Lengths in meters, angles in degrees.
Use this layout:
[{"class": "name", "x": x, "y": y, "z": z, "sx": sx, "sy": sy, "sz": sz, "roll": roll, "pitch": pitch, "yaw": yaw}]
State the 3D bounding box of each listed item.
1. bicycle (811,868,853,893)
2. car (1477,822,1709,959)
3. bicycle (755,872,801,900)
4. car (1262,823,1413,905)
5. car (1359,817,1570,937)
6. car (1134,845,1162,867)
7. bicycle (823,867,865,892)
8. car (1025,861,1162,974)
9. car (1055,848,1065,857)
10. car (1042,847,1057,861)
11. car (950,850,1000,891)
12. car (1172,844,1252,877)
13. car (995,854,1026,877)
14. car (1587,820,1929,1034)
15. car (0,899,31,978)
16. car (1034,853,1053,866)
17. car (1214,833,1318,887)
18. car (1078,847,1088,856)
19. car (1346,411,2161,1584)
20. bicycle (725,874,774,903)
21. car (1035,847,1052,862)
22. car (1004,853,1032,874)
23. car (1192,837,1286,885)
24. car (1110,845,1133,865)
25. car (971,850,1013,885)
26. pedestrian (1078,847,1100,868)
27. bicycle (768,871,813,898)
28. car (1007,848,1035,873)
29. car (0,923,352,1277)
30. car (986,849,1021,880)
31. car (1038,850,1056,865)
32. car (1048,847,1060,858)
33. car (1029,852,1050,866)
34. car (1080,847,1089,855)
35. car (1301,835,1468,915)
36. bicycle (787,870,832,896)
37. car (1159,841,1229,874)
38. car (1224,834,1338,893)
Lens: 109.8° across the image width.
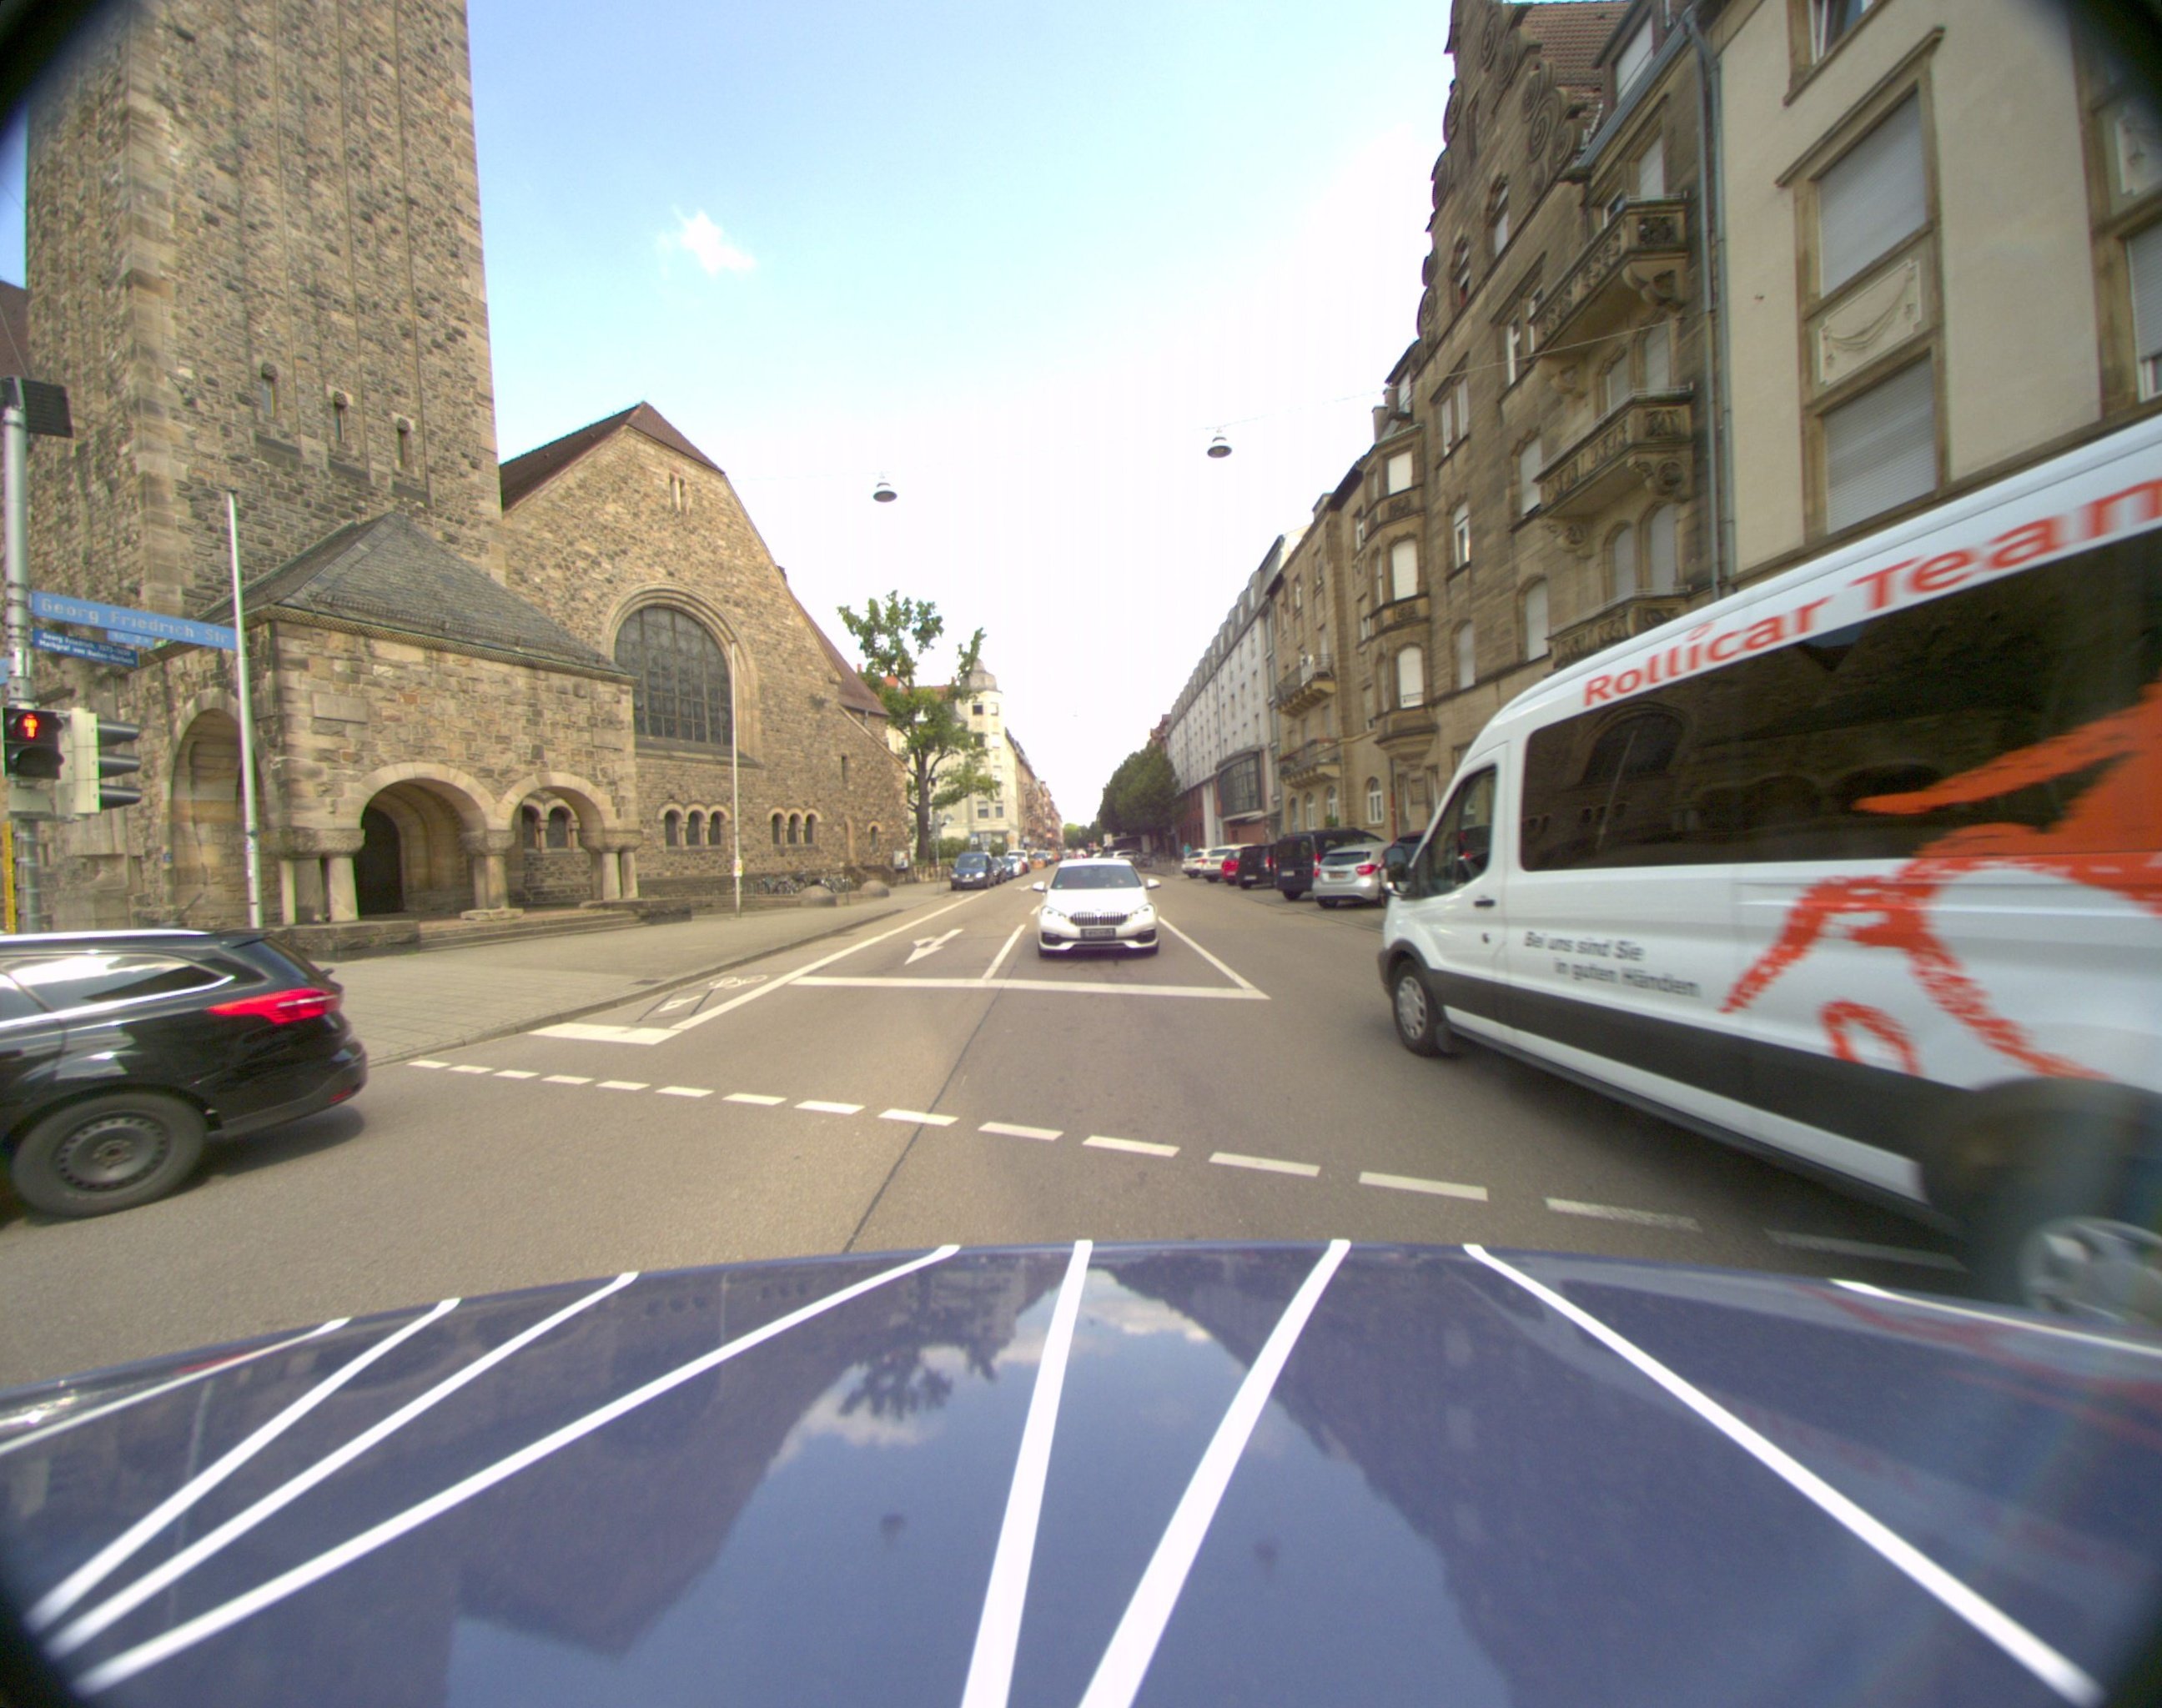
[{"class": "bicycle", "x": -11.629, "y": 1.247, "z": 35.501, "sx": 1.935, "sy": 1.106, "sz": 0.587, "roll": 0, "pitch": 2, "yaw": 21}, {"class": "car", "x": 7.633, "y": 0.461, "z": 11.179, "sx": 3.960, "sy": 1.448, "sz": 1.727, "roll": -7, "pitch": 0, "yaw": -41}, {"class": "bicycle", "x": -12.972, "y": 1.364, "z": 32.517, "sx": 1.935, "sy": 1.106, "sz": 0.587, "roll": 0, "pitch": 2, "yaw": 21}, {"class": "car", "x": 7.079, "y": 0.246, "z": 20.849, "sx": 3.960, "sy": 1.857, "sz": 1.727, "roll": -5, "pitch": 1, "yaw": -33}, {"class": "car", "x": 7.025, "y": 0.364, "z": 13.774, "sx": 3.960, "sy": 1.679, "sz": 1.799, "roll": -6, "pitch": 0, "yaw": -39}, {"class": "car", "x": 5.316, "y": 0.155, "z": 60.833, "sx": 1.891, "sy": 1.556, "sz": 3.890, "roll": -3, "pitch": 0, "yaw": 1}, {"class": "bicycle", "x": -11.285, "y": 1.217, "z": 36.230, "sx": 1.935, "sy": 1.106, "sz": 0.587, "roll": 0, "pitch": 2, "yaw": 21}, {"class": "car", "x": 0.228, "y": 0.889, "z": 12.581, "sx": 1.826, "sy": 1.439, "sz": 4.386, "roll": -1, "pitch": 0, "yaw": 1}, {"class": "car", "x": -4.558, "y": -0.403, "z": 162.299, "sx": 1.809, "sy": 1.756, "sz": 4.186, "roll": -3, "pitch": 0, "yaw": 1}, {"class": "car", "x": -4.459, "y": -0.008, "z": 109.313, "sx": 1.809, "sy": 1.756, "sz": 4.186, "roll": -3, "pitch": 0, "yaw": 1}, {"class": "car", "x": -5.142, "y": 0.748, "z": 37.277, "sx": 1.683, "sy": 1.780, "sz": 4.145, "roll": -3, "pitch": 0, "yaw": 1}, {"class": "car", "x": 6.665, "y": 0.318, "z": 38.466, "sx": 3.961, "sy": 1.465, "sz": 1.727, "roll": -3, "pitch": 1, "yaw": -39}, {"class": "car", "x": -4.906, "y": 0.792, "z": 53.514, "sx": 1.683, "sy": 1.438, "sz": 3.798, "roll": -3, "pitch": 0, "yaw": 1}, {"class": "car", "x": 7.077, "y": 0.567, "z": 7.817, "sx": 4.006, "sy": 1.448, "sz": 1.808, "roll": -6, "pitch": 0, "yaw": -37}, {"class": "car", "x": -27.041, "y": 2.080, "z": 16.682, "sx": 1.995, "sy": 1.842, "sz": 4.312, "roll": -4, "pitch": -1, "yaw": 25}, {"class": "car", "x": -4.223, "y": 0.630, "z": 86.953, "sx": 1.809, "sy": 1.360, "sz": 4.186, "roll": -3, "pitch": 0, "yaw": 1}, {"class": "car", "x": 7.237, "y": 0.217, "z": 29.551, "sx": 3.960, "sy": 1.576, "sz": 1.727, "roll": -8, "pitch": 1, "yaw": -39}, {"class": "car", "x": 0.447, "y": -0.523, "z": 147.781, "sx": 1.809, "sy": 1.590, "sz": 4.186, "roll": -3, "pitch": 0, "yaw": 1}, {"class": "car", "x": 3.281, "y": 0.311, "z": 3.399, "sx": 2.081, "sy": 2.430, "sz": 5.946, "roll": -1, "pitch": -1, "yaw": 0}, {"class": "bicycle", "x": -13.540, "y": 1.417, "z": 31.045, "sx": 1.935, "sy": 1.106, "sz": 0.587, "roll": 0, "pitch": 2, "yaw": 21}, {"class": "car", "x": -4.690, "y": 0.050, "z": 95.866, "sx": 1.809, "sy": 1.756, "sz": 4.186, "roll": -3, "pitch": 0, "yaw": 1}, {"class": "car", "x": -4.803, "y": 0.697, "z": 58.777, "sx": 1.683, "sy": 1.488, "sz": 3.890, "roll": -3, "pitch": 0, "yaw": 1}, {"class": "car", "x": 6.850, "y": 0.279, "z": 32.779, "sx": 3.960, "sy": 1.576, "sz": 1.727, "roll": -7, "pitch": 0, "yaw": -39}, {"class": "car", "x": 3.573, "y": 0.112, "z": 68.193, "sx": 1.891, "sy": 1.641, "sz": 3.890, "roll": -3, "pitch": 0, "yaw": 1}, {"class": "car", "x": -4.942, "y": 0.725, "z": 42.634, "sx": 1.683, "sy": 1.780, "sz": 4.000, "roll": -3, "pitch": 0, "yaw": 1}, {"class": "pedestrian", "x": 0.706, "y": 0.298, "z": 66.662, "sx": 1.316, "sy": 1.747, "sz": 1.370, "roll": -4, "pitch": 1, "yaw": -35}, {"class": "bicycle", "x": -12.691, "y": 1.339, "z": 33.178, "sx": 1.935, "sy": 1.106, "sz": 0.587, "roll": 0, "pitch": 2, "yaw": 21}, {"class": "car", "x": -4.943, "y": 0.493, "z": 63.114, "sx": 1.844, "sy": 1.927, "sz": 4.186, "roll": -3, "pitch": 0, "yaw": 1}, {"class": "car", "x": -6.426, "y": 1.306, "z": 3.360, "sx": 1.780, "sy": 1.525, "sz": 4.394, "roll": -4, "pitch": -1, "yaw": 40}, {"class": "car", "x": -4.928, "y": 0.638, "z": 48.683, "sx": 1.683, "sy": 1.780, "sz": 4.000, "roll": -3, "pitch": 0, "yaw": 1}, {"class": "car", "x": -4.081, "y": 0.404, "z": 91.365, "sx": 1.809, "sy": 1.675, "sz": 4.186, "roll": -3, "pitch": 0, "yaw": 1}, {"class": "car", "x": -4.878, "y": -0.204, "z": 138.475, "sx": 1.809, "sy": 1.901, "sz": 4.186, "roll": -3, "pitch": 0, "yaw": 1}, {"class": "car", "x": -4.400, "y": 0.551, "z": 81.583, "sx": 1.809, "sy": 1.360, "sz": 4.186, "roll": -3, "pitch": 0, "yaw": 1}, {"class": "car", "x": 0.711, "y": -0.671, "z": 156.133, "sx": 1.809, "sy": 1.590, "sz": 4.186, "roll": -3, "pitch": 0, "yaw": 1}, {"class": "car", "x": 7.185, "y": 0.468, "z": 17.842, "sx": 3.960, "sy": 1.421, "sz": 1.727, "roll": -6, "pitch": -1, "yaw": -37}, {"class": "bicycle", "x": -12.170, "y": 1.298, "z": 34.040, "sx": 1.935, "sy": 1.106, "sz": 0.587, "roll": 0, "pitch": 2, "yaw": 21}, {"class": "car", "x": 6.765, "y": 0.214, "z": 45.268, "sx": 3.961, "sy": 1.576, "sz": 1.727, "roll": -5, "pitch": -1, "yaw": -39}, {"class": "car", "x": 7.067, "y": 0.304, "z": 26.728, "sx": 3.960, "sy": 1.576, "sz": 1.727, "roll": -7, "pitch": 2, "yaw": -39}]
